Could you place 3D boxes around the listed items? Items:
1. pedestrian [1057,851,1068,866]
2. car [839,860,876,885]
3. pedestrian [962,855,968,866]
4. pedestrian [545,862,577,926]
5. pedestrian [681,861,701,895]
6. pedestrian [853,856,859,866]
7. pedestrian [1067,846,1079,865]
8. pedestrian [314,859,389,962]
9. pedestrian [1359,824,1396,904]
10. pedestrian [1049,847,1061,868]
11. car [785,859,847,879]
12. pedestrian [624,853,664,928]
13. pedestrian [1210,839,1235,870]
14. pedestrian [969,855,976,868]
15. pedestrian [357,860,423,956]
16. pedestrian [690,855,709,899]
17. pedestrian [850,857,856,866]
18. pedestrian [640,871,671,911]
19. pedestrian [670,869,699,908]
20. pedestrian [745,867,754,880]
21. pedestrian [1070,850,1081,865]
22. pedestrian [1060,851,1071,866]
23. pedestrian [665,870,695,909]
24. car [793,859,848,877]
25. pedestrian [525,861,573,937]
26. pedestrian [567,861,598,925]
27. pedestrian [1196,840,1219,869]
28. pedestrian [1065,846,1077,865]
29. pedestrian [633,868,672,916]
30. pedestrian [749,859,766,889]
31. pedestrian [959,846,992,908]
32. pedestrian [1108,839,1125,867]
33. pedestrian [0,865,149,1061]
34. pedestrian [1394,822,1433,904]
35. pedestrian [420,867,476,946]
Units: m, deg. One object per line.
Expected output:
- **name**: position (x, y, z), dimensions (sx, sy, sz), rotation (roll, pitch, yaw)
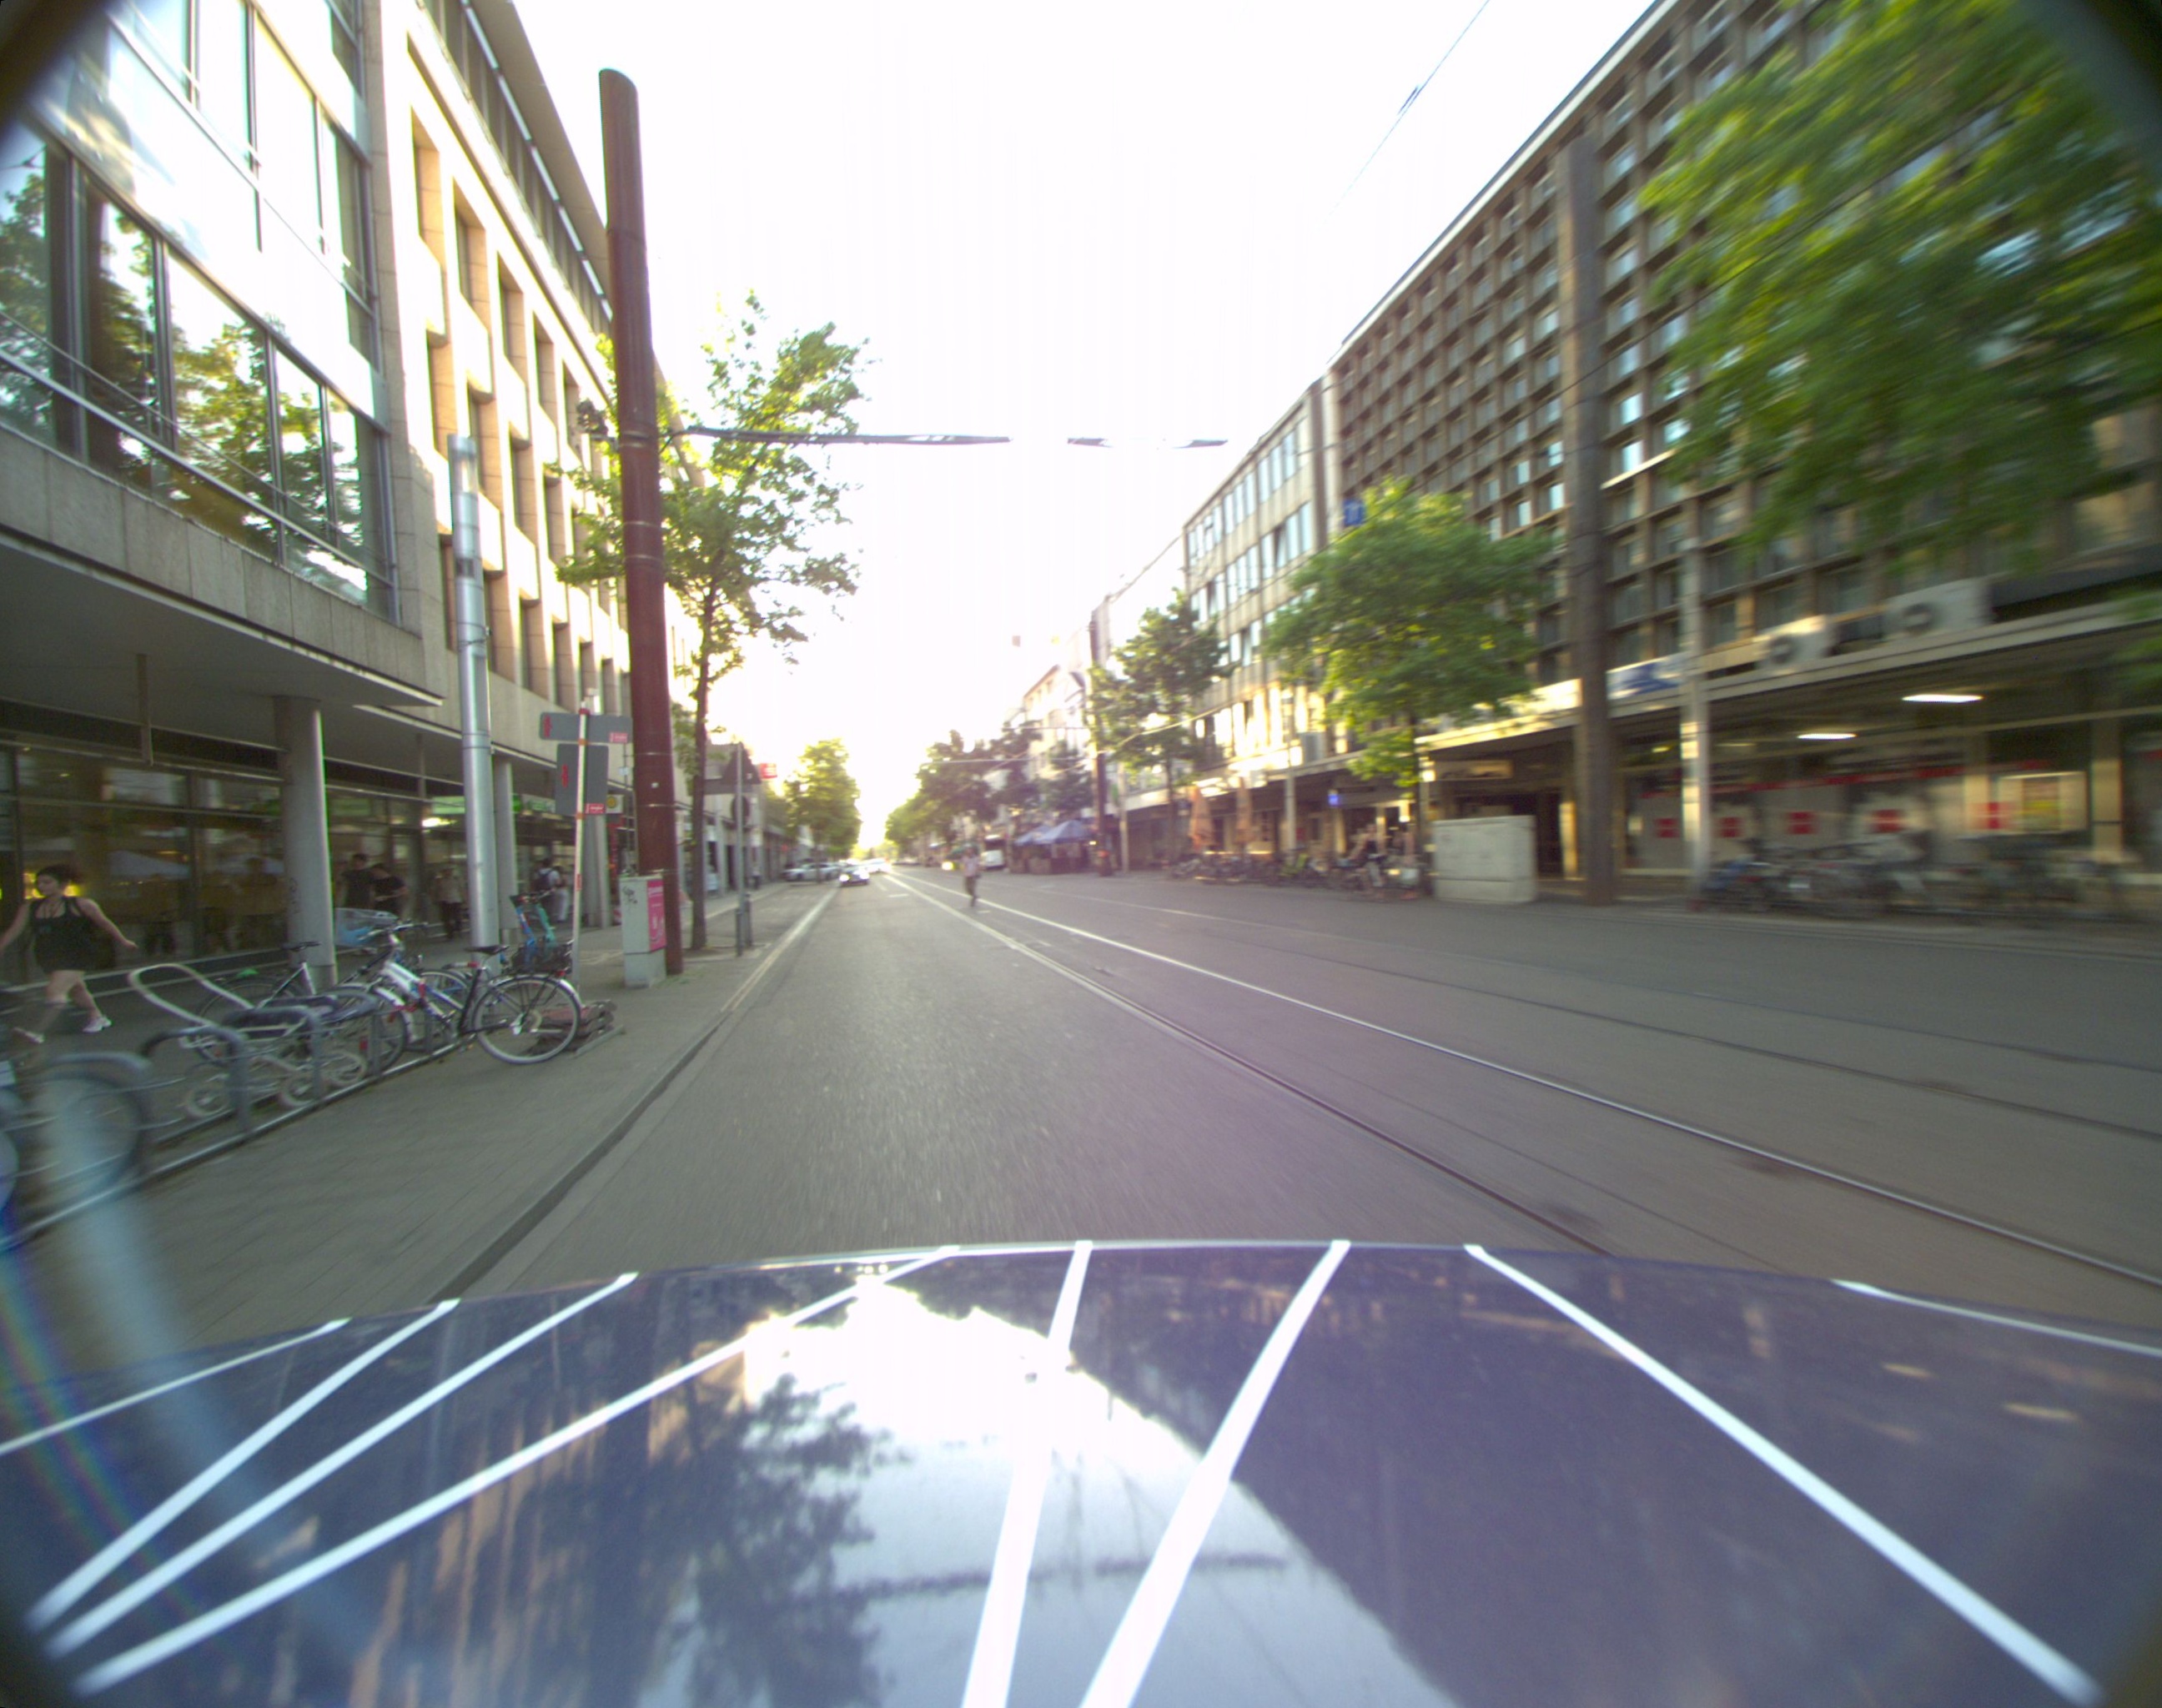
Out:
- **pedestrian**: position (-1.455, 0.333, 60.903), dimensions (0.643, 1.150, 0.664), rotation (-6, 3, -18)
- **car**: position (-14.638, 1.187, 50.040), dimensions (1.800, 1.400, 4.560), rotation (-4, 1, -11)
- **pedestrian**: position (-14.408, 0.827, 94.619), dimensions (0.650, 1.378, 0.649), rotation (-3, 1, -9)
- **pedestrian**: position (-14.911, 1.134, 21.797), dimensions (0.541, 1.796, 0.603), rotation (-2, 1, -17)
- **pedestrian**: position (-19.203, 1.177, 37.420), dimensions (0.690, 1.652, 0.721), rotation (-2, 1, -14)
- **pedestrian**: position (-35.412, 1.125, 119.550), dimensions (0.651, 1.451, 0.648), rotation (-3, 1, -32)
- **pedestrian**: position (-0.635, 0.118, 61.856), dimensions (0.663, 1.426, 0.642), rotation (-7, 3, -15)
- **pedestrian**: position (-13.747, 1.039, 14.341), dimensions (0.689, 1.872, 0.772), rotation (-2, 1, -17)
- **pedestrian**: position (6.407, 0.211, 16.429), dimensions (0.602, 1.689, 0.536), rotation (-3, 1, 14)
- **pedestrian**: position (-1.966, 0.246, 57.306), dimensions (0.658, 1.544, 0.564), rotation (-6, 3, -17)
- **car**: position (-22.914, 1.284, 65.751), dimensions (1.913, 1.619, 4.647), rotation (-3, -2, 43)
- **pedestrian**: position (-10.971, 0.891, 19.100), dimensions (0.671, 1.829, 0.707), rotation (-2, 1, -16)
- **pedestrian**: position (6.434, 0.017, 34.553), dimensions (0.673, 1.318, 0.910), rotation (-5, 2, -17)
- **pedestrian**: position (-12.134, 0.854, 84.694), dimensions (0.650, 1.451, 0.649), rotation (-3, 1, -15)
- **pedestrian**: position (-13.118, 1.003, 14.446), dimensions (0.584, 1.743, 0.772), rotation (-2, 1, -17)
- **pedestrian**: position (-17.126, 1.022, 34.101), dimensions (0.580, 1.933, 0.654), rotation (-2, 1, -15)
- **pedestrian**: position (-35.080, 1.156, 116.927), dimensions (0.651, 1.451, 0.648), rotation (-3, 1, -32)
- **pedestrian**: position (-14.648, 1.275, 26.166), dimensions (0.720, 1.307, 0.531), rotation (-3, 2, -14)
- **pedestrian**: position (-14.075, 1.230, 26.988), dimensions (0.720, 1.307, 0.524), rotation (-3, 2, -14)
- **pedestrian**: position (-27.875, 1.616, 63.923), dimensions (0.629, 1.030, 0.557), rotation (-2, 1, -24)
- **pedestrian**: position (-0.456, 0.293, 60.215), dimensions (0.643, 1.150, 0.664), rotation (-6, 3, -18)
- **pedestrian**: position (-1.200, 0.339, 59.860), dimensions (0.643, 1.150, 0.664), rotation (-6, 3, -18)
- **pedestrian**: position (-13.962, 1.233, 26.471), dimensions (0.720, 1.307, 0.531), rotation (-3, 2, -14)
- **car**: position (-24.944, 1.306, 72.788), dimensions (1.912, 1.578, 4.647), rotation (0, 0, 40)
- **pedestrian**: position (-13.493, 1.118, 19.296), dimensions (0.671, 1.829, 0.878), rotation (-2, 1, -16)
- **pedestrian**: position (-14.397, 1.104, 21.964), dimensions (0.541, 1.796, 0.603), rotation (-2, 1, -17)
- **pedestrian**: position (5.925, 0.029, 35.649), dimensions (0.673, 1.318, 0.910), rotation (-5, 2, -17)
- **pedestrian**: position (-0.839, 0.116, 62.545), dimensions (0.663, 1.426, 0.642), rotation (-7, 3, -15)
- **pedestrian**: position (-13.023, 1.132, 23.125), dimensions (0.816, 1.373, 0.661), rotation (-3, 2, -14)
- **pedestrian**: position (-17.834, 1.085, 41.917), dimensions (0.671, 1.579, 0.637), rotation (-4, 2, -16)
- **pedestrian**: position (-3.165, 0.682, 22.882), dimensions (0.822, 1.782, 0.990), rotation (-3, 1, -5)
- **pedestrian**: position (2.274, -0.065, 48.752), dimensions (0.686, 1.783, 0.989), rotation (-5, 2, -15)
- **pedestrian**: position (-9.878, 1.002, 7.315), dimensions (0.776, 1.762, 0.773), rotation (-2, 1, -16)
- **pedestrian**: position (7.006, 0.187, 16.026), dimensions (0.602, 1.689, 0.536), rotation (-3, 1, 14)
- **pedestrian**: position (-13.848, 1.124, 16.643), dimensions (0.650, 1.652, 0.680), rotation (-2, 1, -14)
